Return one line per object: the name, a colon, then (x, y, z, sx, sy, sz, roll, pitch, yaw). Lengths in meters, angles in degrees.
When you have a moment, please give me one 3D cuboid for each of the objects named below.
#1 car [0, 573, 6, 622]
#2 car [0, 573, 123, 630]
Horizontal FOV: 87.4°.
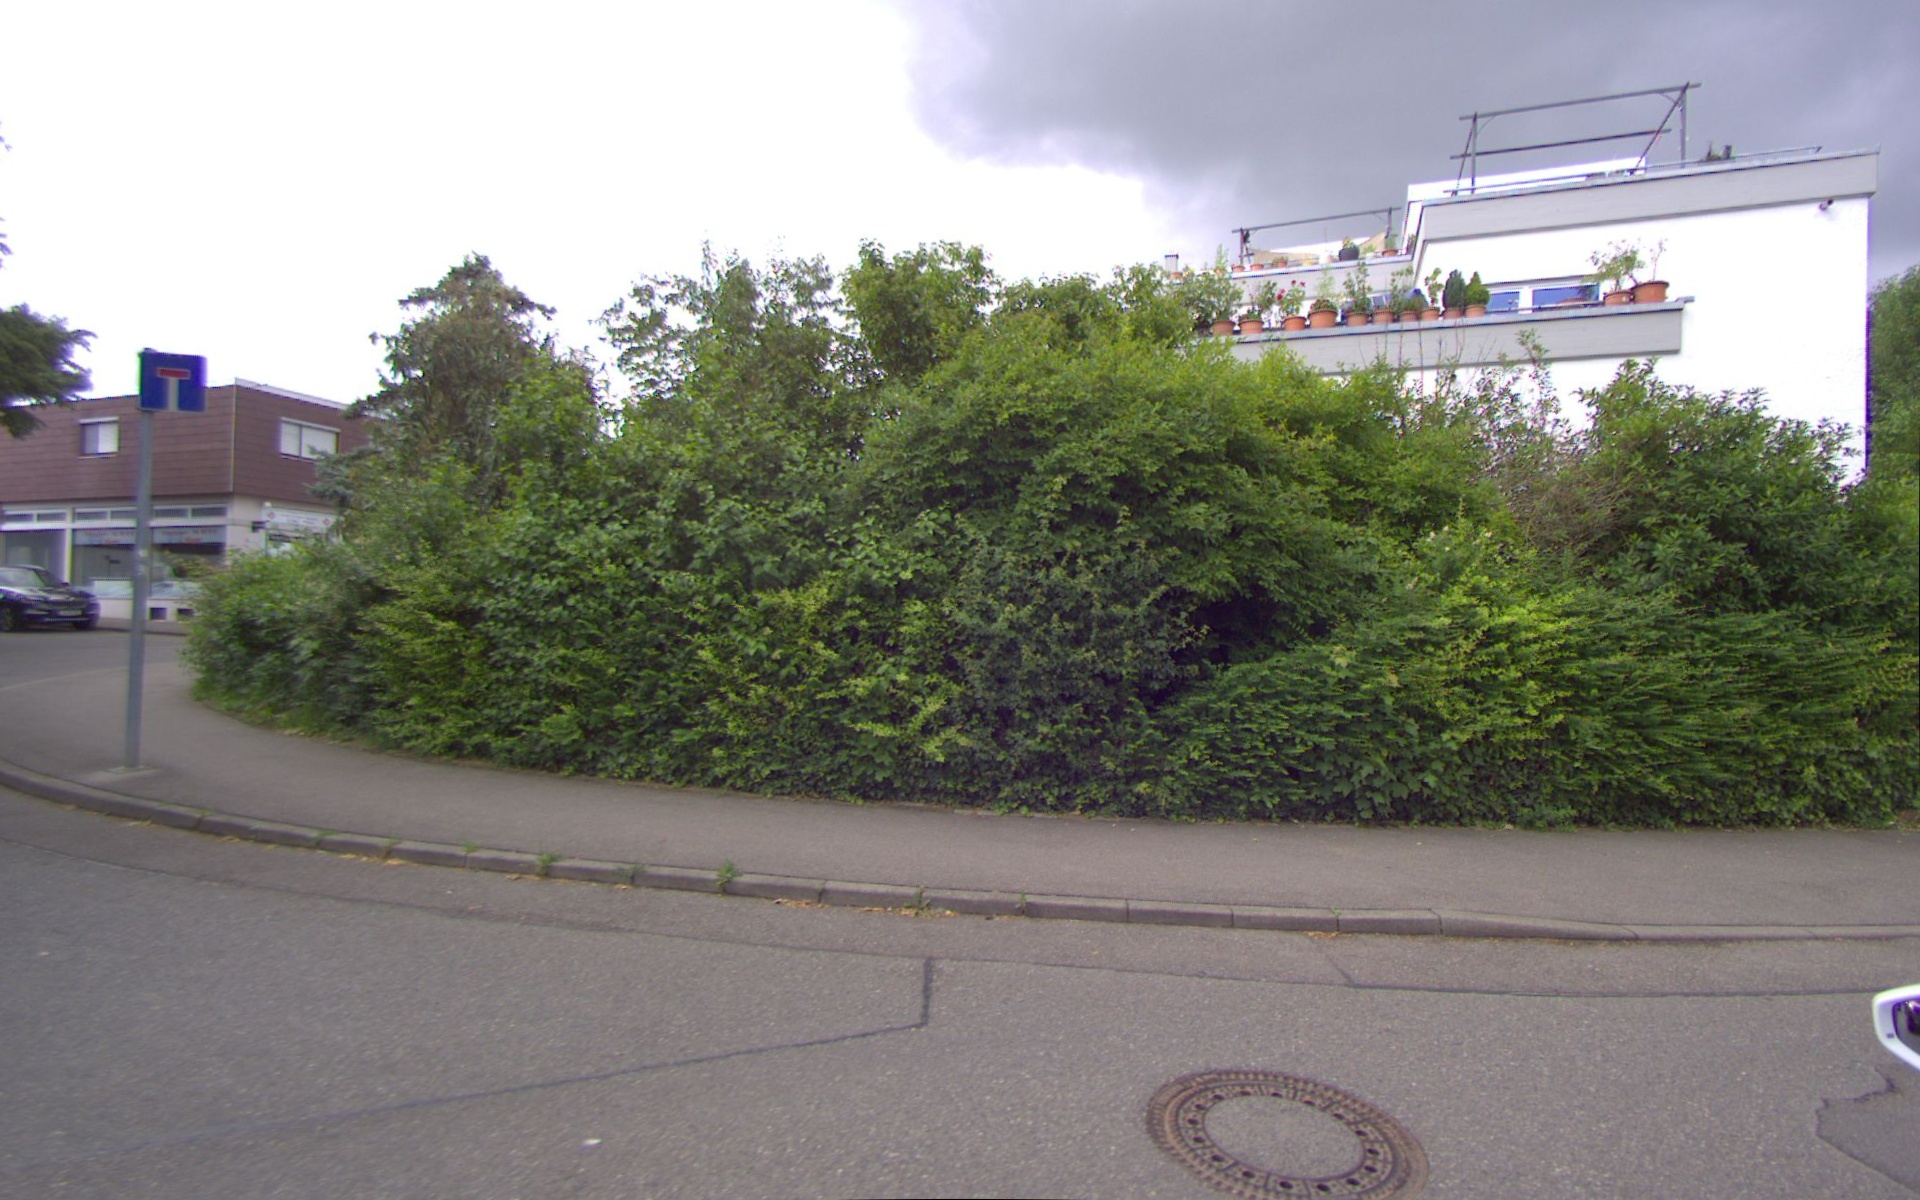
car: (-29.482, -0.114, 28.449, 3.921, 1.394, 1.975, 1, 0, 19)
car: (-24.686, 0.001, 26.673, 4.195, 1.394, 1.999, 1, 1, 21)
